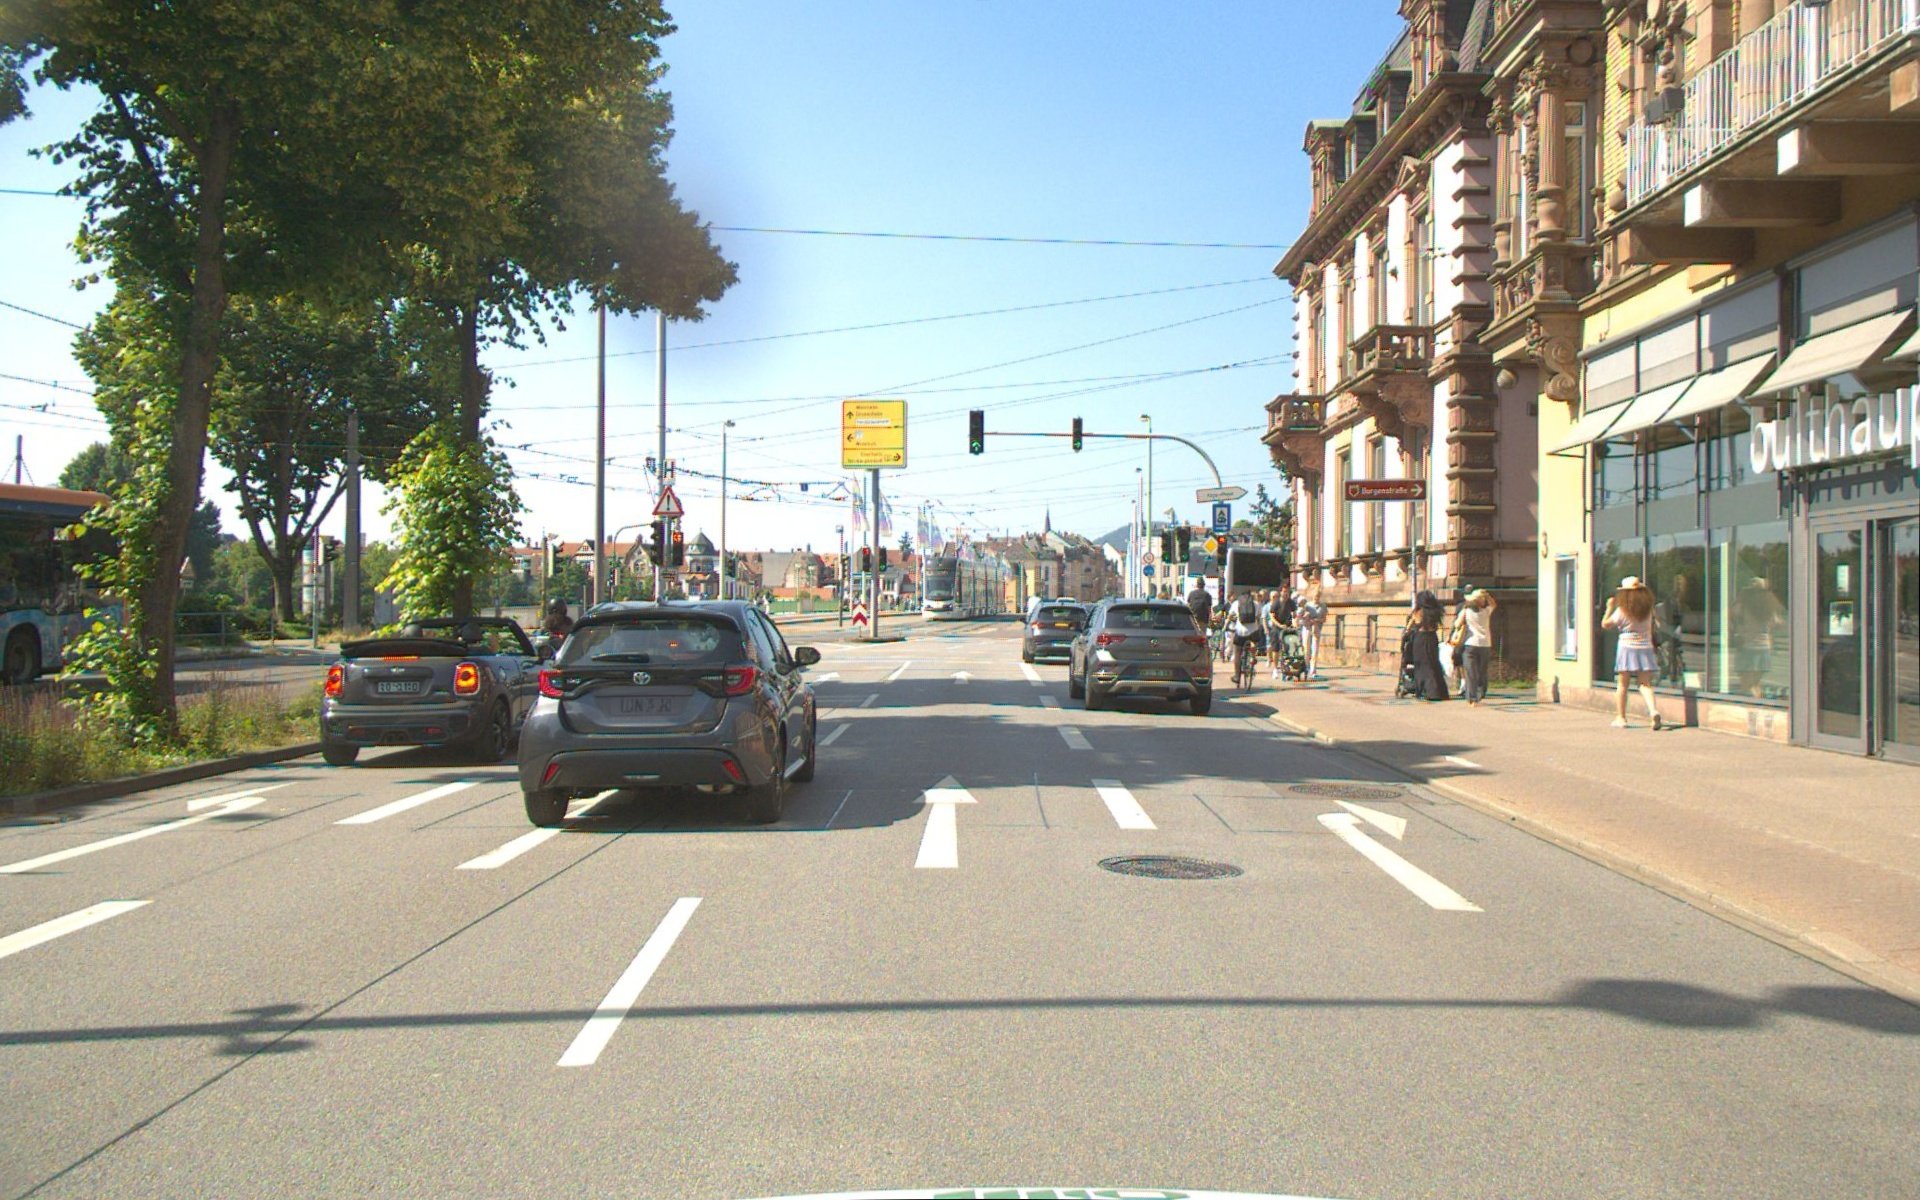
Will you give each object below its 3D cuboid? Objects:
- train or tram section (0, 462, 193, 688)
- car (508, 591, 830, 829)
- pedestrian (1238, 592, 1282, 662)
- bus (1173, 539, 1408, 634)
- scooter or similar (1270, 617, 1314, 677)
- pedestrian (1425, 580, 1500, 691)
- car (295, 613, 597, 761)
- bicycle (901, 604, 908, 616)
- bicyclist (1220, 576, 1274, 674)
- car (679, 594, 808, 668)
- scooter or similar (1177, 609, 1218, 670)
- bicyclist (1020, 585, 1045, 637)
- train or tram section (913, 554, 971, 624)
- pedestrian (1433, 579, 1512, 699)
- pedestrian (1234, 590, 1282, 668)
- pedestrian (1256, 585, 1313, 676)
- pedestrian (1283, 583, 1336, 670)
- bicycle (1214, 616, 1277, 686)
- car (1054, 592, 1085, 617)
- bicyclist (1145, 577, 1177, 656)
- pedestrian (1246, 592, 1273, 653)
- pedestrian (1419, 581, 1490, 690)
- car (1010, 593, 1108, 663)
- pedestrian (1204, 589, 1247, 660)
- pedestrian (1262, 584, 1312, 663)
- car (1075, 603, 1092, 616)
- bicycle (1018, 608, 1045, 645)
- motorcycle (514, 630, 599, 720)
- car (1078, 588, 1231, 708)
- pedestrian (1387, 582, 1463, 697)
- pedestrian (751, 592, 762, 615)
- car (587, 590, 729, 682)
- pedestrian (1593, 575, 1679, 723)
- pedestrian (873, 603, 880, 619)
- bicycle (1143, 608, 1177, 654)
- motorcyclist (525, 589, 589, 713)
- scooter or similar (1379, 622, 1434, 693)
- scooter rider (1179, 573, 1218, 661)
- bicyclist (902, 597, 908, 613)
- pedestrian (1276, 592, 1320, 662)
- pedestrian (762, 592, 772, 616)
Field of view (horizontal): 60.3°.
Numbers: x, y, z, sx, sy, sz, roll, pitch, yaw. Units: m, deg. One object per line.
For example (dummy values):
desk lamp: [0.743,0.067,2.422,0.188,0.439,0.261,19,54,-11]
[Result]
train or tram section: [-16.761,-0.414,28.608,2.763,3.644,8.228,1,0,3]
car: [-2.008,0.730,12.523,1.741,1.501,3.999,0,-1,0]
pedestrian: [7.368,0.653,40.673,0.845,1.669,0.875,3,-1,-1]
bus: [11.675,-0.408,58.041,8.538,2.825,2.943,3,-1,-35]
scooter or similar: [6.157,0.861,30.690,0.588,1.066,0.799,3,-1,-1]
pedestrian: [7.889,0.556,25.976,0.845,1.669,0.875,3,-1,-1]
car: [-5.151,0.825,17.163,1.778,1.356,4.000,0,-1,2]
bicycle: [-5.426,0.964,162.171,0.546,1.144,1.222,3,-1,-1]
bicyclist: [4.869,0.421,28.100,0.674,1.604,1.049,3,-1,0]
car: [-4.436,0.634,34.504,1.995,1.355,4.000,3,-1,2]
scooter or similar: [4.887,0.805,34.070,0.674,1.188,1.464,3,-1,4]
bicyclist: [2.303,0.340,52.593,0.674,1.604,1.049,3,-1,-1]
train or tram section: [-1.012,-0.602,97.718,2.764,3.843,8.229,3,0,3]
pedestrian: [7.284,0.550,23.538,0.845,1.669,0.875,0,0,-1]
pedestrian: [6.572,0.635,36.510,0.845,1.669,0.875,3,-1,-1]
pedestrian: [6.156,0.583,31.431,0.845,1.669,0.875,3,-1,-1]
pedestrian: [6.859,0.512,32.503,0.845,1.669,0.875,0,0,-1]
bicycle: [4.837,0.854,28.156,0.719,1.112,1.898,3,-1,0]
car: [7.202,0.301,108.746,1.820,1.533,4.000,3,-1,2]
bicyclist: [5.160,0.423,42.477,0.674,1.996,0.778,2,-1,4]
pedestrian: [8.292,0.630,45.855,0.564,1.669,0.611,3,-1,-1]
pedestrian: [7.690,0.541,25.755,0.845,1.669,0.875,0,0,-1]
car: [2.344,0.673,40.094,1.953,1.519,3.998,3,-1,-2]
pedestrian: [6.469,0.604,40.291,0.845,1.669,0.875,3,-1,-1]
pedestrian: [7.164,0.510,36.251,0.845,1.669,0.875,3,-1,-1]
car: [15.079,1.172,202.098,1.820,1.533,4.000,3,-1,2]
bicycle: [2.276,0.840,52.623,0.719,1.112,1.897,3,-1,-1]
motorcycle: [-5.261,0.950,21.655,0.684,1.082,1.909,-1,0,-2]
car: [2.756,0.676,24.216,1.835,1.519,4.000,3,-1,2]
pedestrian: [7.013,0.595,24.982,0.845,1.669,0.875,3,-1,-1]
pedestrian: [-12.954,0.223,105.391,0.546,1.440,0.636,3,-1,-1]
car: [-4.864,0.579,27.121,1.421,1.323,4.000,3,-1,2]
pedestrian: [7.693,0.540,18.856,0.641,1.649,0.815,0,0,-1]
pedestrian: [-7.658,0.978,152.280,0.546,1.440,0.636,3,-1,-1]
bicycle: [5.132,0.795,42.545,0.719,1.112,1.898,3,-1,3]
motorcyclist: [-5.275,0.668,21.682,0.675,1.583,0.717,-1,-2,-2]
scooter or similar: [6.917,0.881,25.651,0.588,1.066,0.799,3,-1,-1]
scooter rider: [4.926,0.349,34.171,0.674,1.759,0.778,2,-1,4]
bicyclist: [-5.396,0.513,162.160,0.546,1.563,0.743,3,-1,-1]
pedestrian: [8.339,0.675,40.817,0.845,1.669,0.875,3,-1,-1]
pedestrian: [-12.301,0.255,105.389,0.546,1.440,0.636,3,-1,-1]
